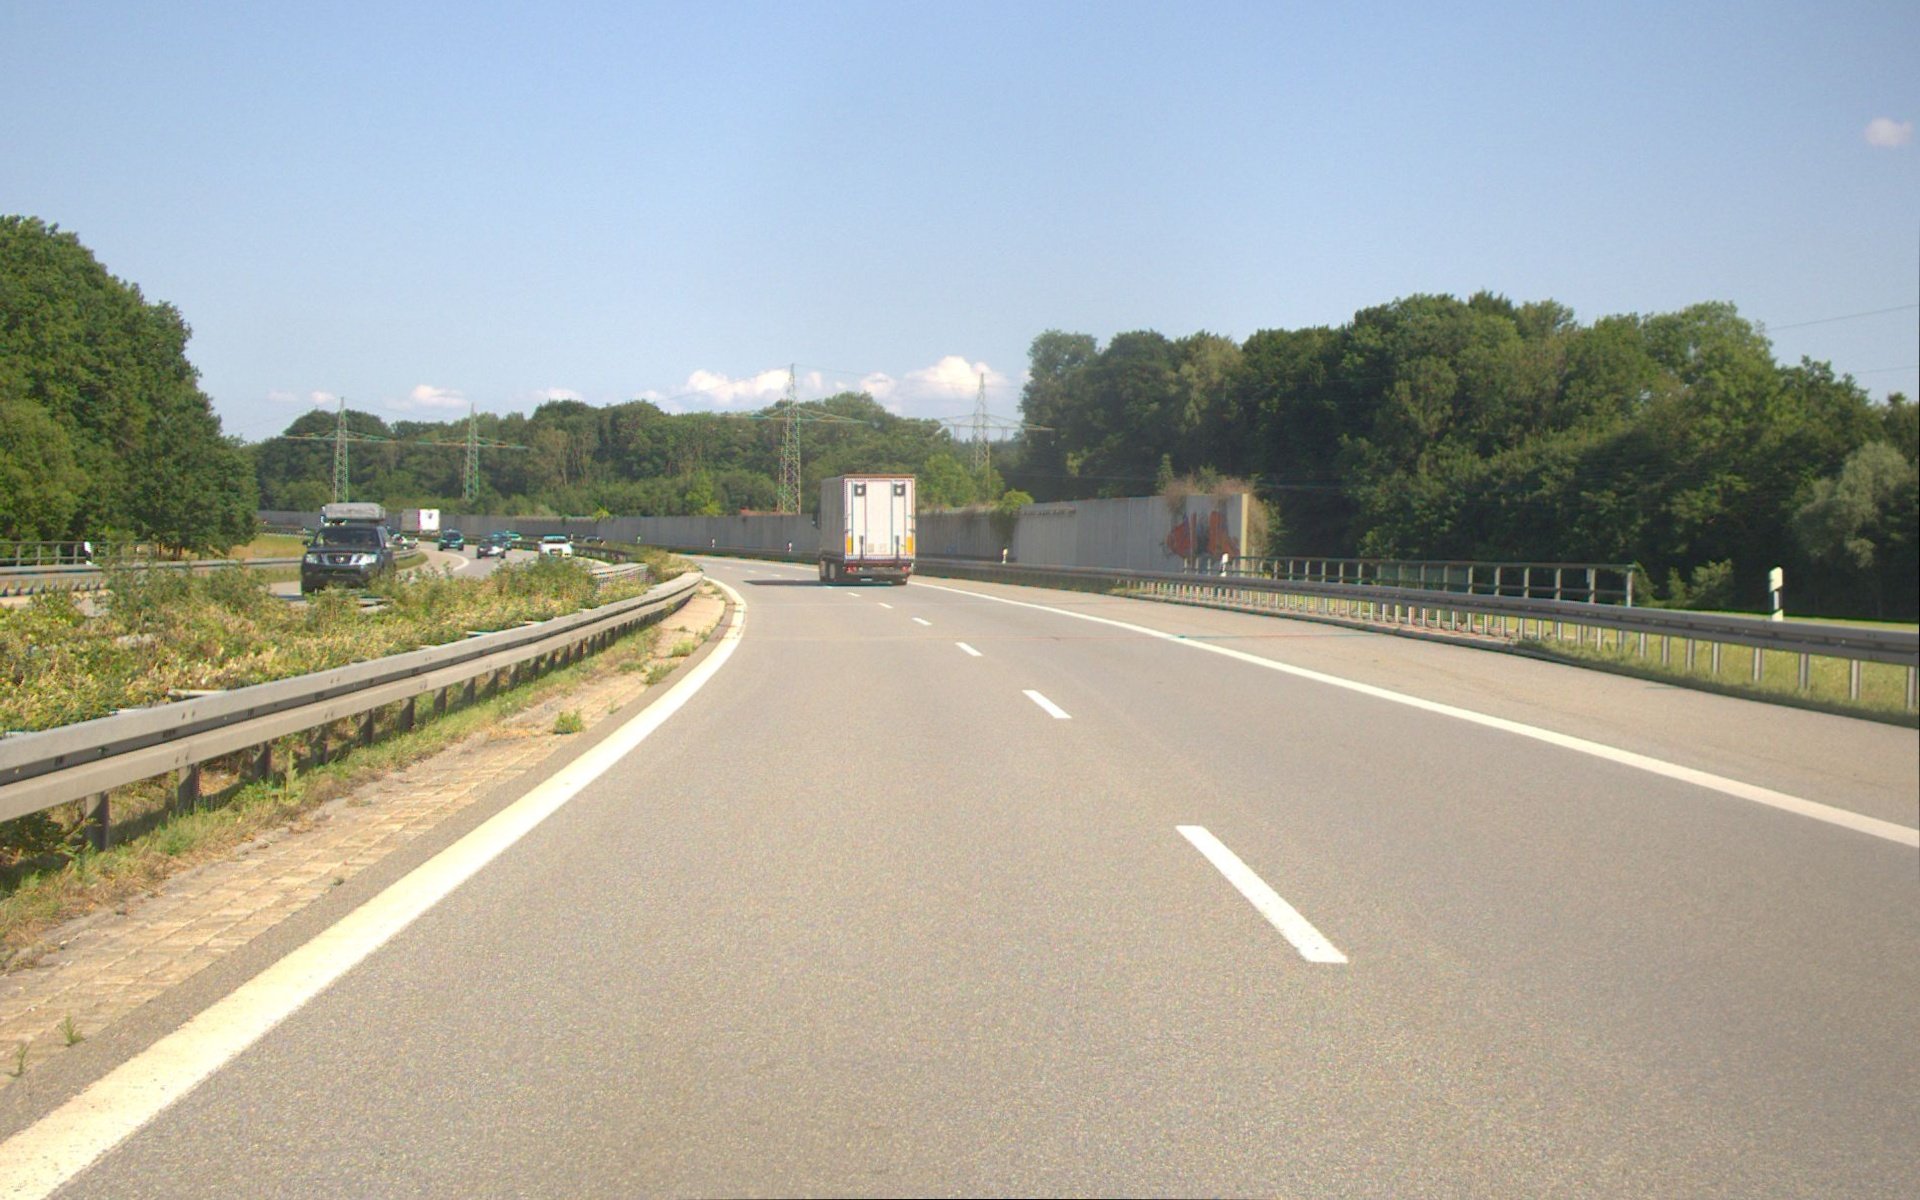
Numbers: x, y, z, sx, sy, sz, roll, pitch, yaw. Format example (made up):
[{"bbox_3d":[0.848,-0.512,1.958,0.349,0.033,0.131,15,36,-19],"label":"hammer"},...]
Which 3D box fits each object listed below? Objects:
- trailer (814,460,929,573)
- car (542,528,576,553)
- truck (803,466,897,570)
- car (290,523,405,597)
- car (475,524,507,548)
[{"bbox_3d":[-3.434,-3.117,129.281,2.883,4.052,12.423,0,1,-8],"label":"trailer"},{"bbox_3d":[-24.021,-3.547,205.679,1.820,1.429,4.651,1,1,-9],"label":"car"},{"bbox_3d":[-4.370,-3.207,135.351,2.829,3.998,6.589,0,1,-10],"label":"truck"},{"bbox_3d":[-14.410,-0.961,81.114,1.993,1.673,5.318,-1,1,-3],"label":"car"},{"bbox_3d":[-30.049,-4.096,220.189,1.772,1.465,4.508,1,1,-12],"label":"car"}]
